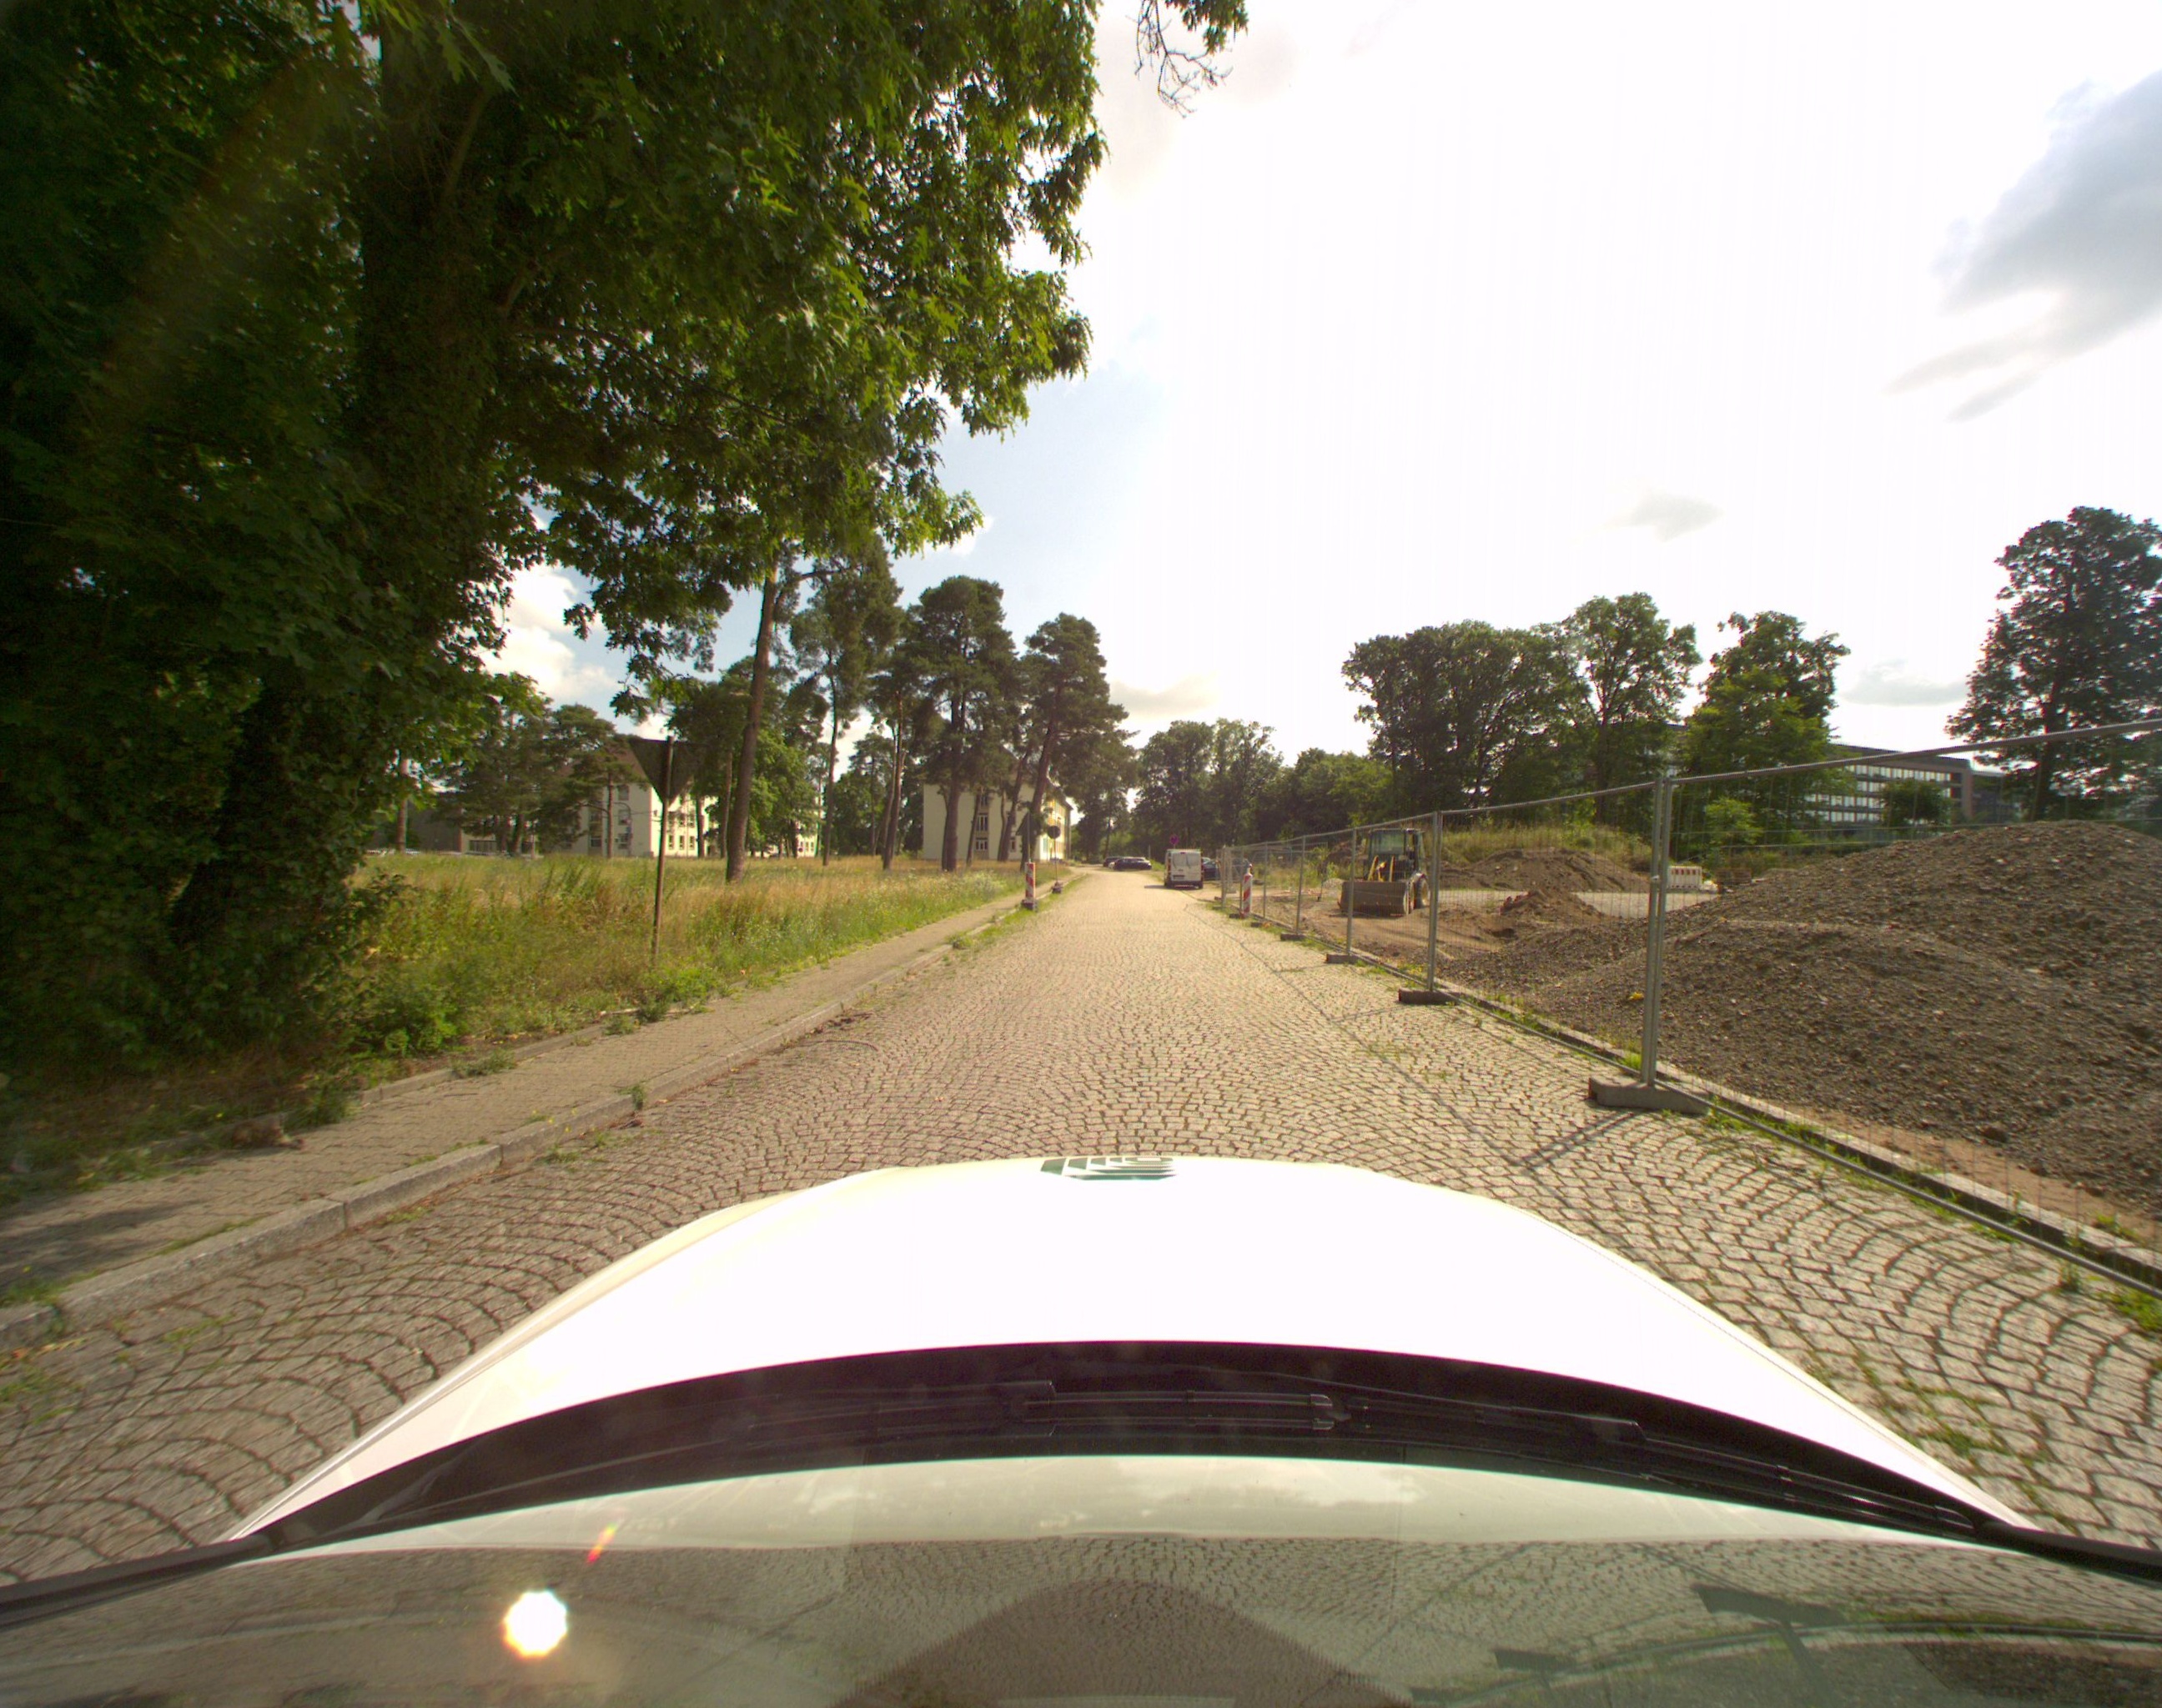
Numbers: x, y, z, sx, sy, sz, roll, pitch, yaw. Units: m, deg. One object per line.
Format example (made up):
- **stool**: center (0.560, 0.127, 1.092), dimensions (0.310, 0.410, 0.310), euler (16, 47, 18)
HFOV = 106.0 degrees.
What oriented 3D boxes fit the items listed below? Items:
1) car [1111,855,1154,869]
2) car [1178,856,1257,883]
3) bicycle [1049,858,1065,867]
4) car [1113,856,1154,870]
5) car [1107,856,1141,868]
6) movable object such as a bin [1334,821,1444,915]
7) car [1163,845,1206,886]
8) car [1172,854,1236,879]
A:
- **car**: center (5.928, 0.947, 94.244), dimensions (4.845, 1.472, 1.875), euler (-1, 0, 0)
- **car**: center (8.265, 0.944, 49.590), dimensions (4.442, 1.475, 1.744), euler (-1, -1, -2)
- **bicycle**: center (-3.527, 1.207, 119.047), dimensions (2.212, 1.260, 0.624), euler (0, -1, 4)
- **car**: center (5.898, 0.982, 91.172), dimensions (4.318, 1.500, 1.826), euler (-1, 0, -6)
- **car**: center (5.632, 1.043, 106.928), dimensions (4.383, 1.484, 1.766), euler (-1, -1, 0)
- **movable object such as a bin**: center (9.503, 0.354, 24.810), dimensions (2.122, 2.521, 5.692), euler (-1, 0, 31)
- **car**: center (5.480, 0.619, 43.742), dimensions (1.905, 2.053, 5.684), euler (0, 0, 4)
- **car**: center (8.158, 0.840, 54.270), dimensions (3.974, 1.507, 1.746), euler (-1, -1, -1)
